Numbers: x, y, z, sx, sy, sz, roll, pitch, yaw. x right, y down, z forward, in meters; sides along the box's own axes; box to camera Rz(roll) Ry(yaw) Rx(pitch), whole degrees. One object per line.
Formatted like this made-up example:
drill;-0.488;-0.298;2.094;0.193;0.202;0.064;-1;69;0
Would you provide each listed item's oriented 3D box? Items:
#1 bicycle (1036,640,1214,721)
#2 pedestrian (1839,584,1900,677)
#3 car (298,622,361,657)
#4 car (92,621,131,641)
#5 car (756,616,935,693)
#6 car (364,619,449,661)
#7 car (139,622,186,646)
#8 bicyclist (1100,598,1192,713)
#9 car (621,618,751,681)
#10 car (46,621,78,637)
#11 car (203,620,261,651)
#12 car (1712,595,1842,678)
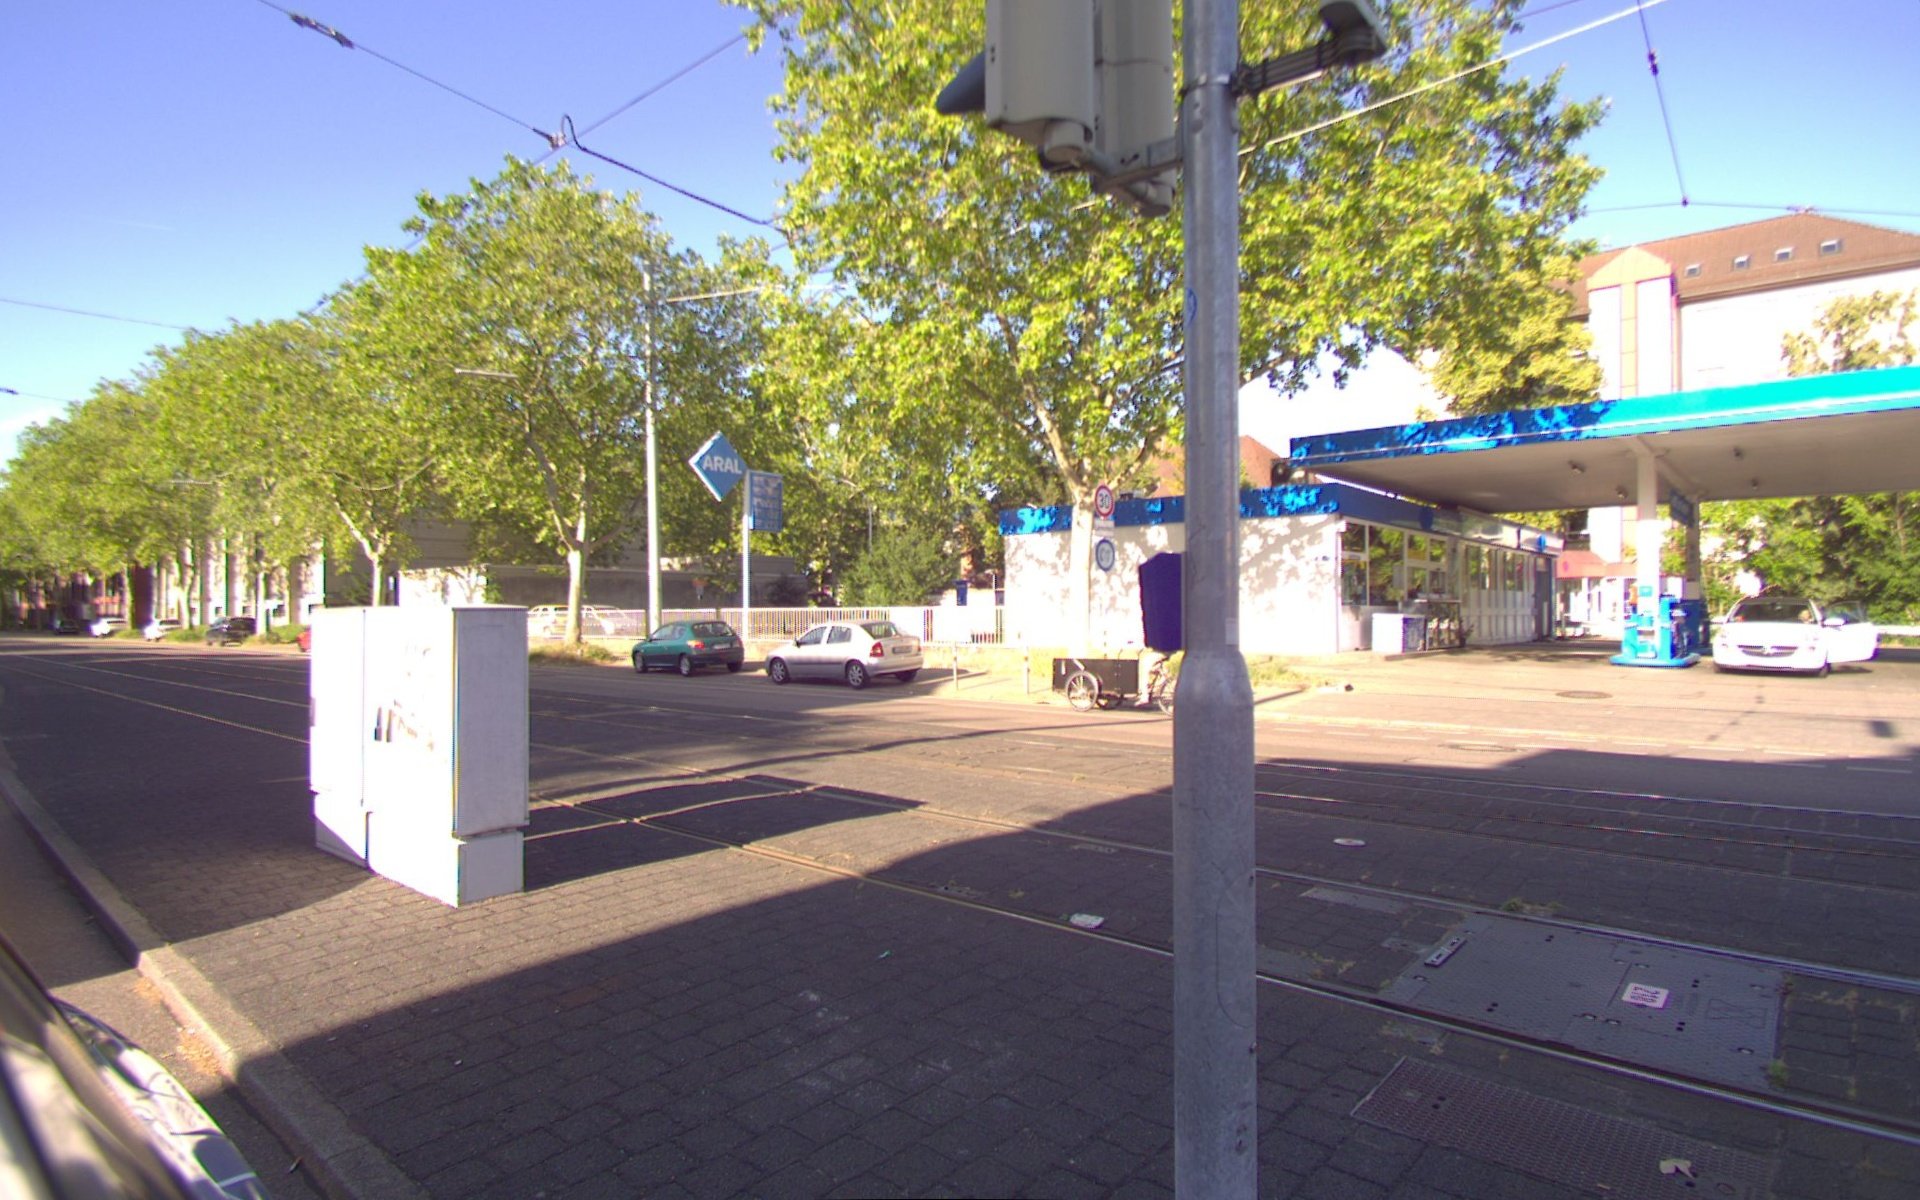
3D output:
bicycle;2.473;1.182;15.441;2.518;1.110;1.045;-1;-3;41
pedestrian;17.115;0.568;19.060;0.760;1.705;0.579;-1;-2;37
car;-28.551;1.750;45.802;3.045;1.519;1.620;-1;-1;41
car;-66.678;2.404;79.535;3.998;1.525;1.779;-1;-1;41
car;-2.628;1.156;22.664;3.965;1.475;1.771;-1;2;43
car;-21.938;1.550;40.054;3.652;1.541;1.802;-1;-1;41
car;-53.715;2.267;68.168;3.998;1.509;1.779;-1;-1;41
bicyclist;2.799;0.815;15.261;1.027;1.650;0.922;-2;-1;41
car;-7.326;1.274;26.934;3.519;1.475;1.670;-1;2;43
car;-85.317;2.736;96.124;3.998;1.525;1.779;-1;-1;41
car;-40.750;1.953;56.594;3.998;1.674;1.779;-1;-1;41
car;16.029;0.672;19.908;1.812;1.453;3.947;-1;-1;39
